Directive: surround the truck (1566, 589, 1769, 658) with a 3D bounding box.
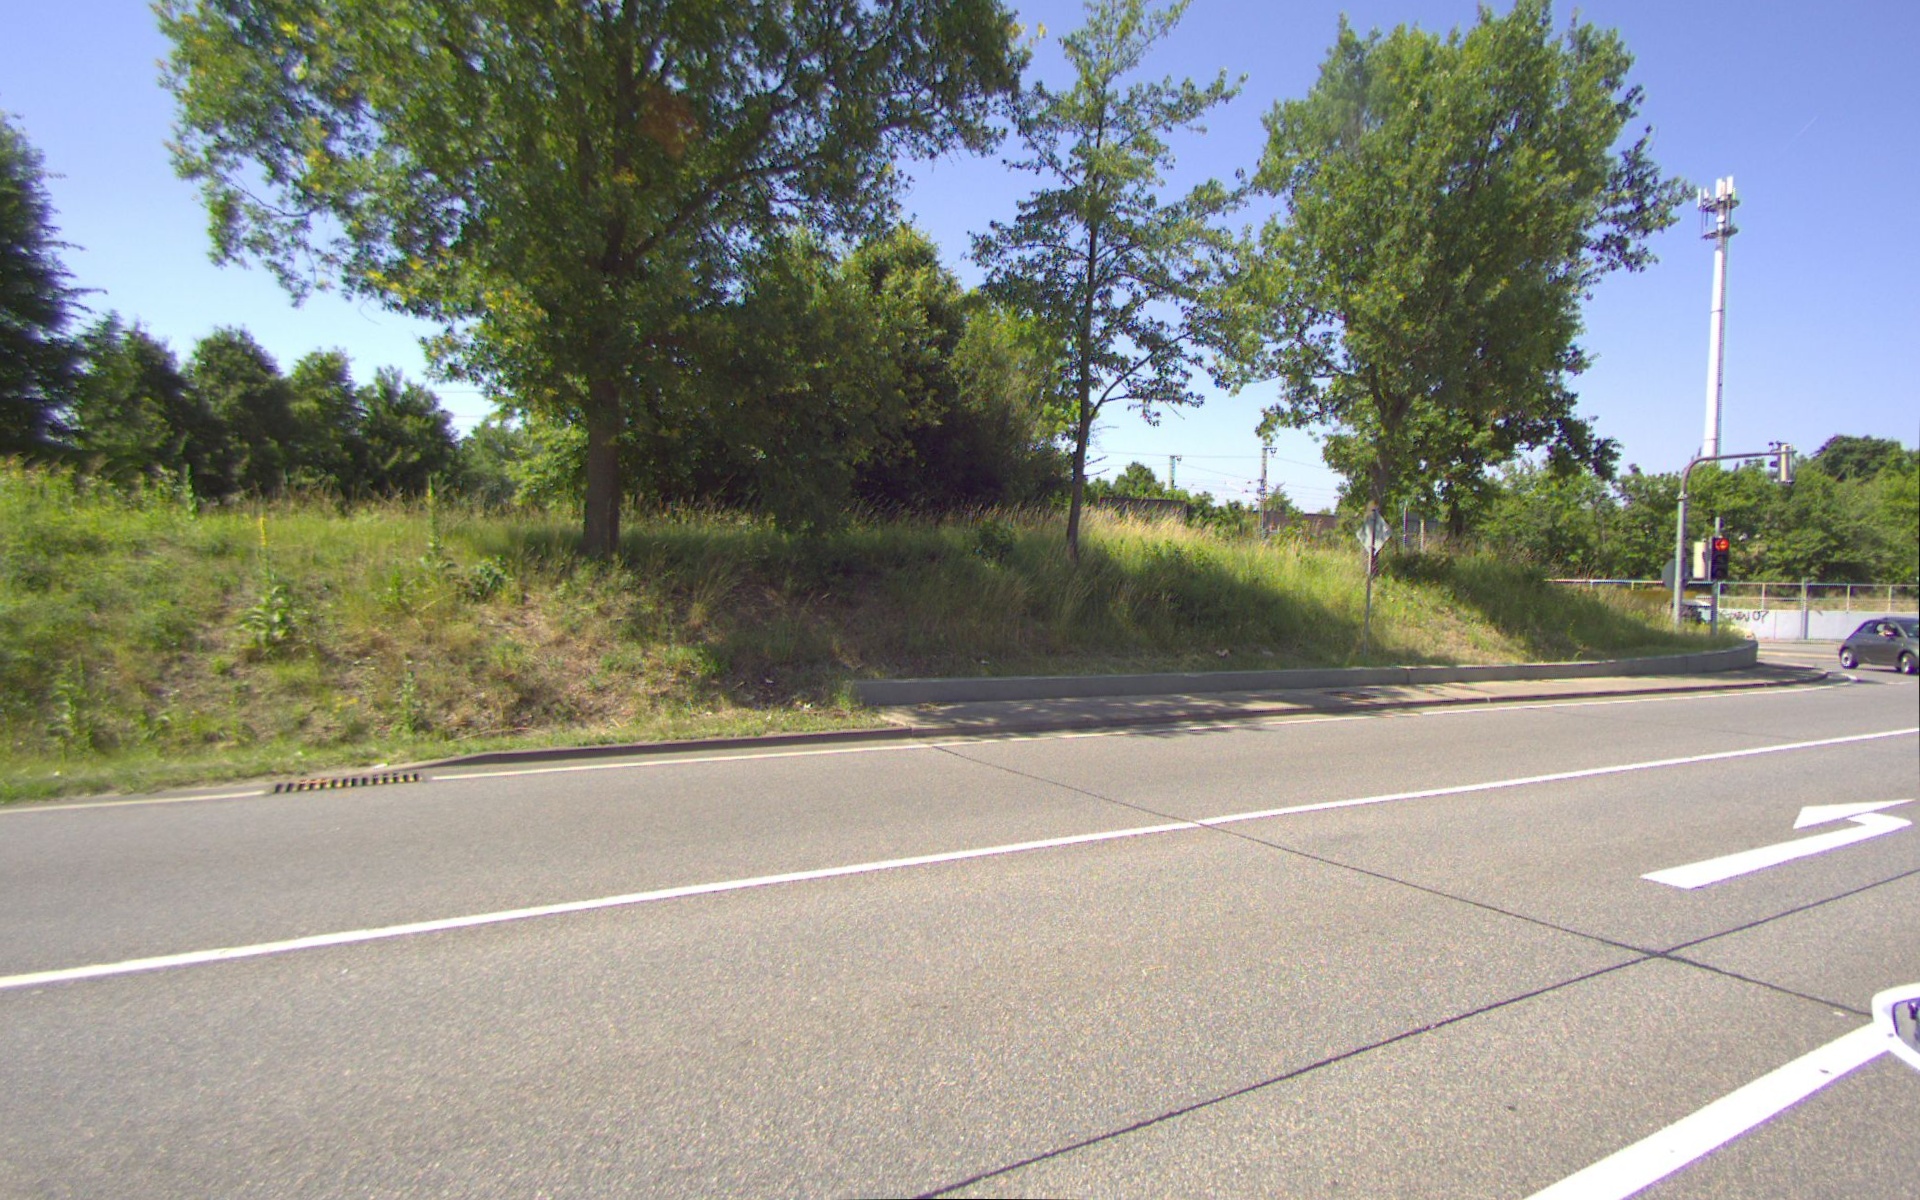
[{"bbox_3d":[25.451,0.782,36.491,1.954,2.305,5.996,1,0,-20],"label":"truck"}]

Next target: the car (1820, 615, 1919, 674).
[{"bbox_3d":[25.989,1.193,27.706,1.560,1.489,3.601,1,0,4],"label":"car"}]
